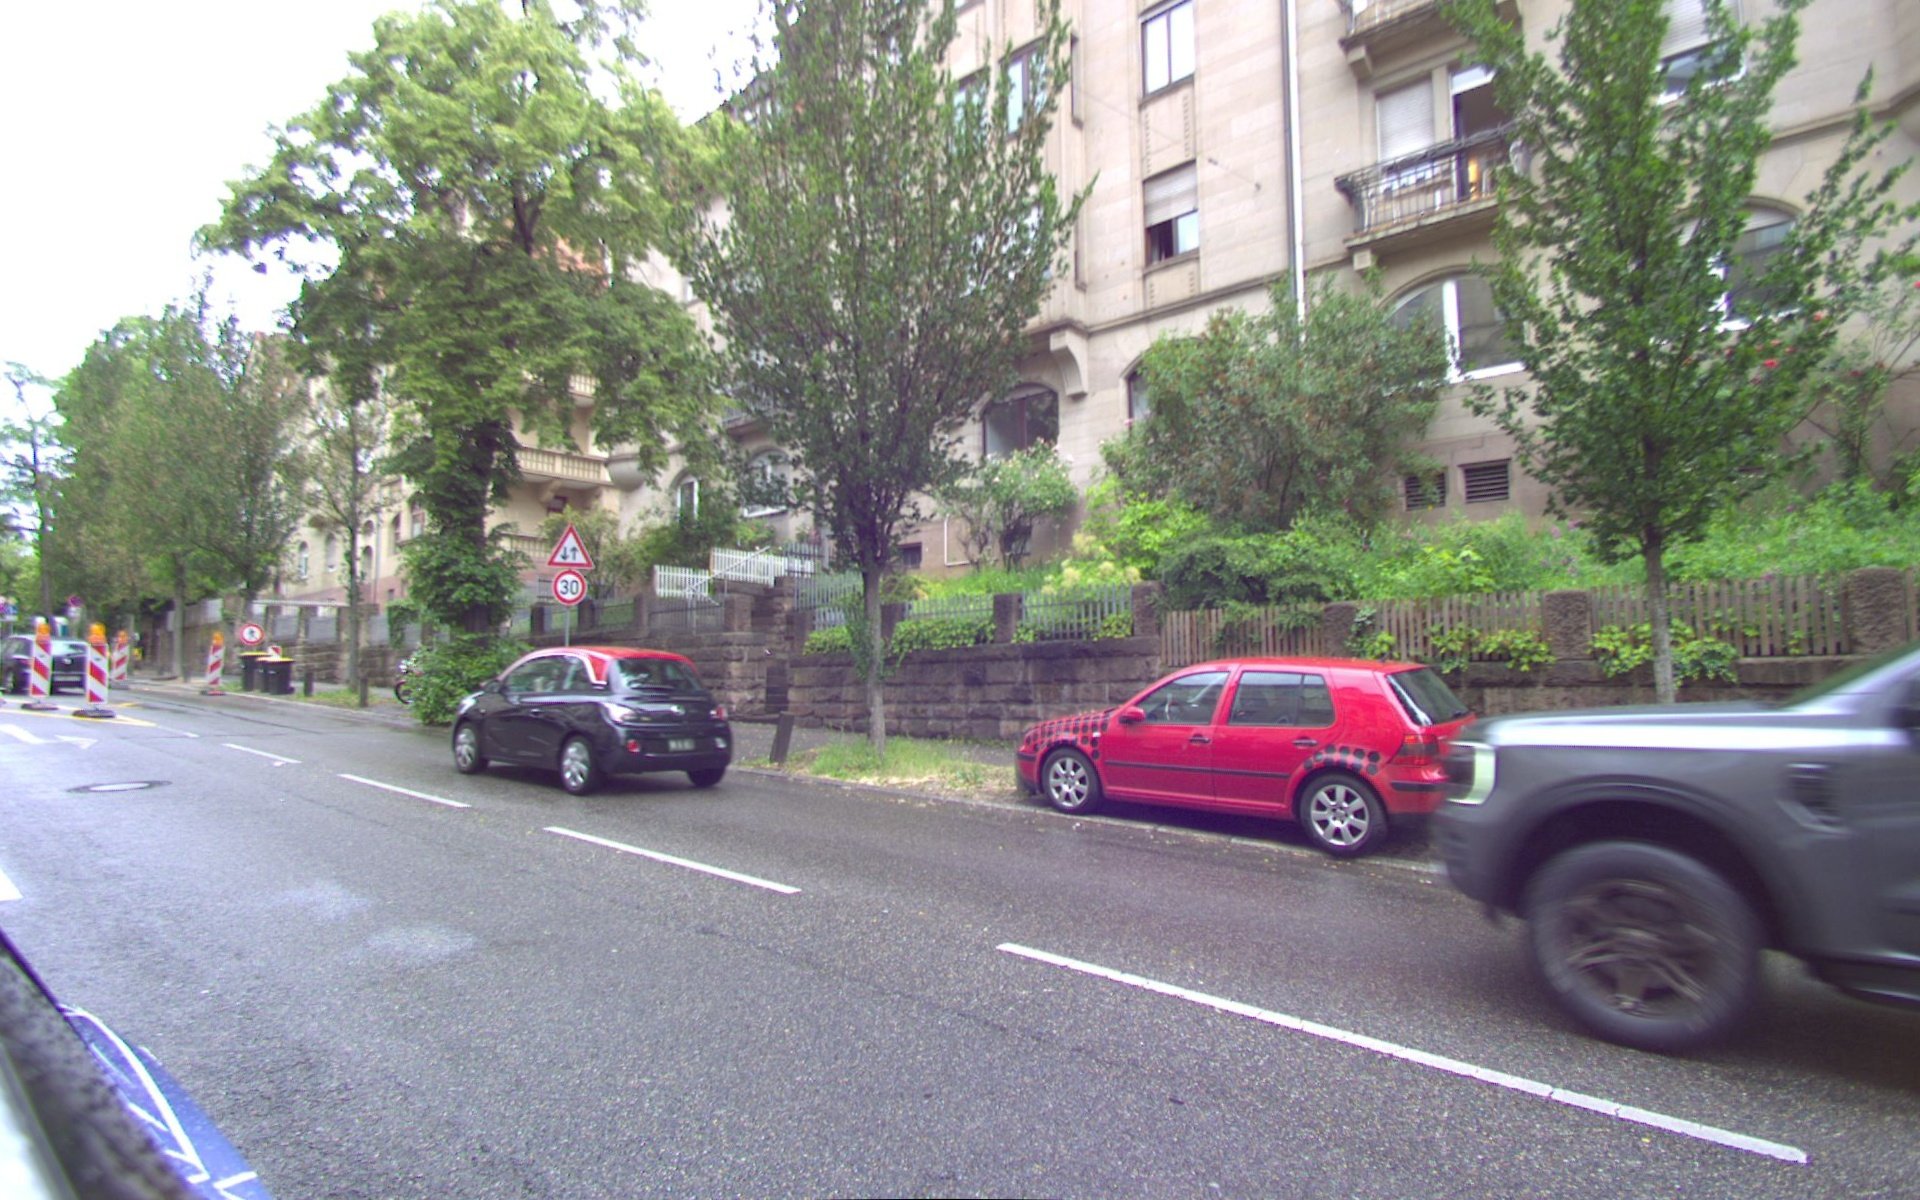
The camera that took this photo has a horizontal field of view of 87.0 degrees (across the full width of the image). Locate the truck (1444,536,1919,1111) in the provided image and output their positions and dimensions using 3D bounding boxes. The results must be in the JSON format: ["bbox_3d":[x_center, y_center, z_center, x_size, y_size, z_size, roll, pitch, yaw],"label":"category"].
[{"bbox_3d":[4.632,0.751,3.308,5.150,1.850,2.049,-2,-5,41],"label":"truck"}]

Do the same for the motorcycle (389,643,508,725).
[{"bbox_3d":[-9.722,1.543,19.158,3.058,1.425,0.792,-2,-2,38],"label":"motorcycle"}]

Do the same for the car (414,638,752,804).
[{"bbox_3d":[-4.137,1.202,10.951,3.649,1.483,1.651,-1,-6,37],"label":"car"}]

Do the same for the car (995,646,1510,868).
[{"bbox_3d":[2.368,1.157,8.875,4.062,1.462,1.596,-2,-3,42],"label":"car"}]
